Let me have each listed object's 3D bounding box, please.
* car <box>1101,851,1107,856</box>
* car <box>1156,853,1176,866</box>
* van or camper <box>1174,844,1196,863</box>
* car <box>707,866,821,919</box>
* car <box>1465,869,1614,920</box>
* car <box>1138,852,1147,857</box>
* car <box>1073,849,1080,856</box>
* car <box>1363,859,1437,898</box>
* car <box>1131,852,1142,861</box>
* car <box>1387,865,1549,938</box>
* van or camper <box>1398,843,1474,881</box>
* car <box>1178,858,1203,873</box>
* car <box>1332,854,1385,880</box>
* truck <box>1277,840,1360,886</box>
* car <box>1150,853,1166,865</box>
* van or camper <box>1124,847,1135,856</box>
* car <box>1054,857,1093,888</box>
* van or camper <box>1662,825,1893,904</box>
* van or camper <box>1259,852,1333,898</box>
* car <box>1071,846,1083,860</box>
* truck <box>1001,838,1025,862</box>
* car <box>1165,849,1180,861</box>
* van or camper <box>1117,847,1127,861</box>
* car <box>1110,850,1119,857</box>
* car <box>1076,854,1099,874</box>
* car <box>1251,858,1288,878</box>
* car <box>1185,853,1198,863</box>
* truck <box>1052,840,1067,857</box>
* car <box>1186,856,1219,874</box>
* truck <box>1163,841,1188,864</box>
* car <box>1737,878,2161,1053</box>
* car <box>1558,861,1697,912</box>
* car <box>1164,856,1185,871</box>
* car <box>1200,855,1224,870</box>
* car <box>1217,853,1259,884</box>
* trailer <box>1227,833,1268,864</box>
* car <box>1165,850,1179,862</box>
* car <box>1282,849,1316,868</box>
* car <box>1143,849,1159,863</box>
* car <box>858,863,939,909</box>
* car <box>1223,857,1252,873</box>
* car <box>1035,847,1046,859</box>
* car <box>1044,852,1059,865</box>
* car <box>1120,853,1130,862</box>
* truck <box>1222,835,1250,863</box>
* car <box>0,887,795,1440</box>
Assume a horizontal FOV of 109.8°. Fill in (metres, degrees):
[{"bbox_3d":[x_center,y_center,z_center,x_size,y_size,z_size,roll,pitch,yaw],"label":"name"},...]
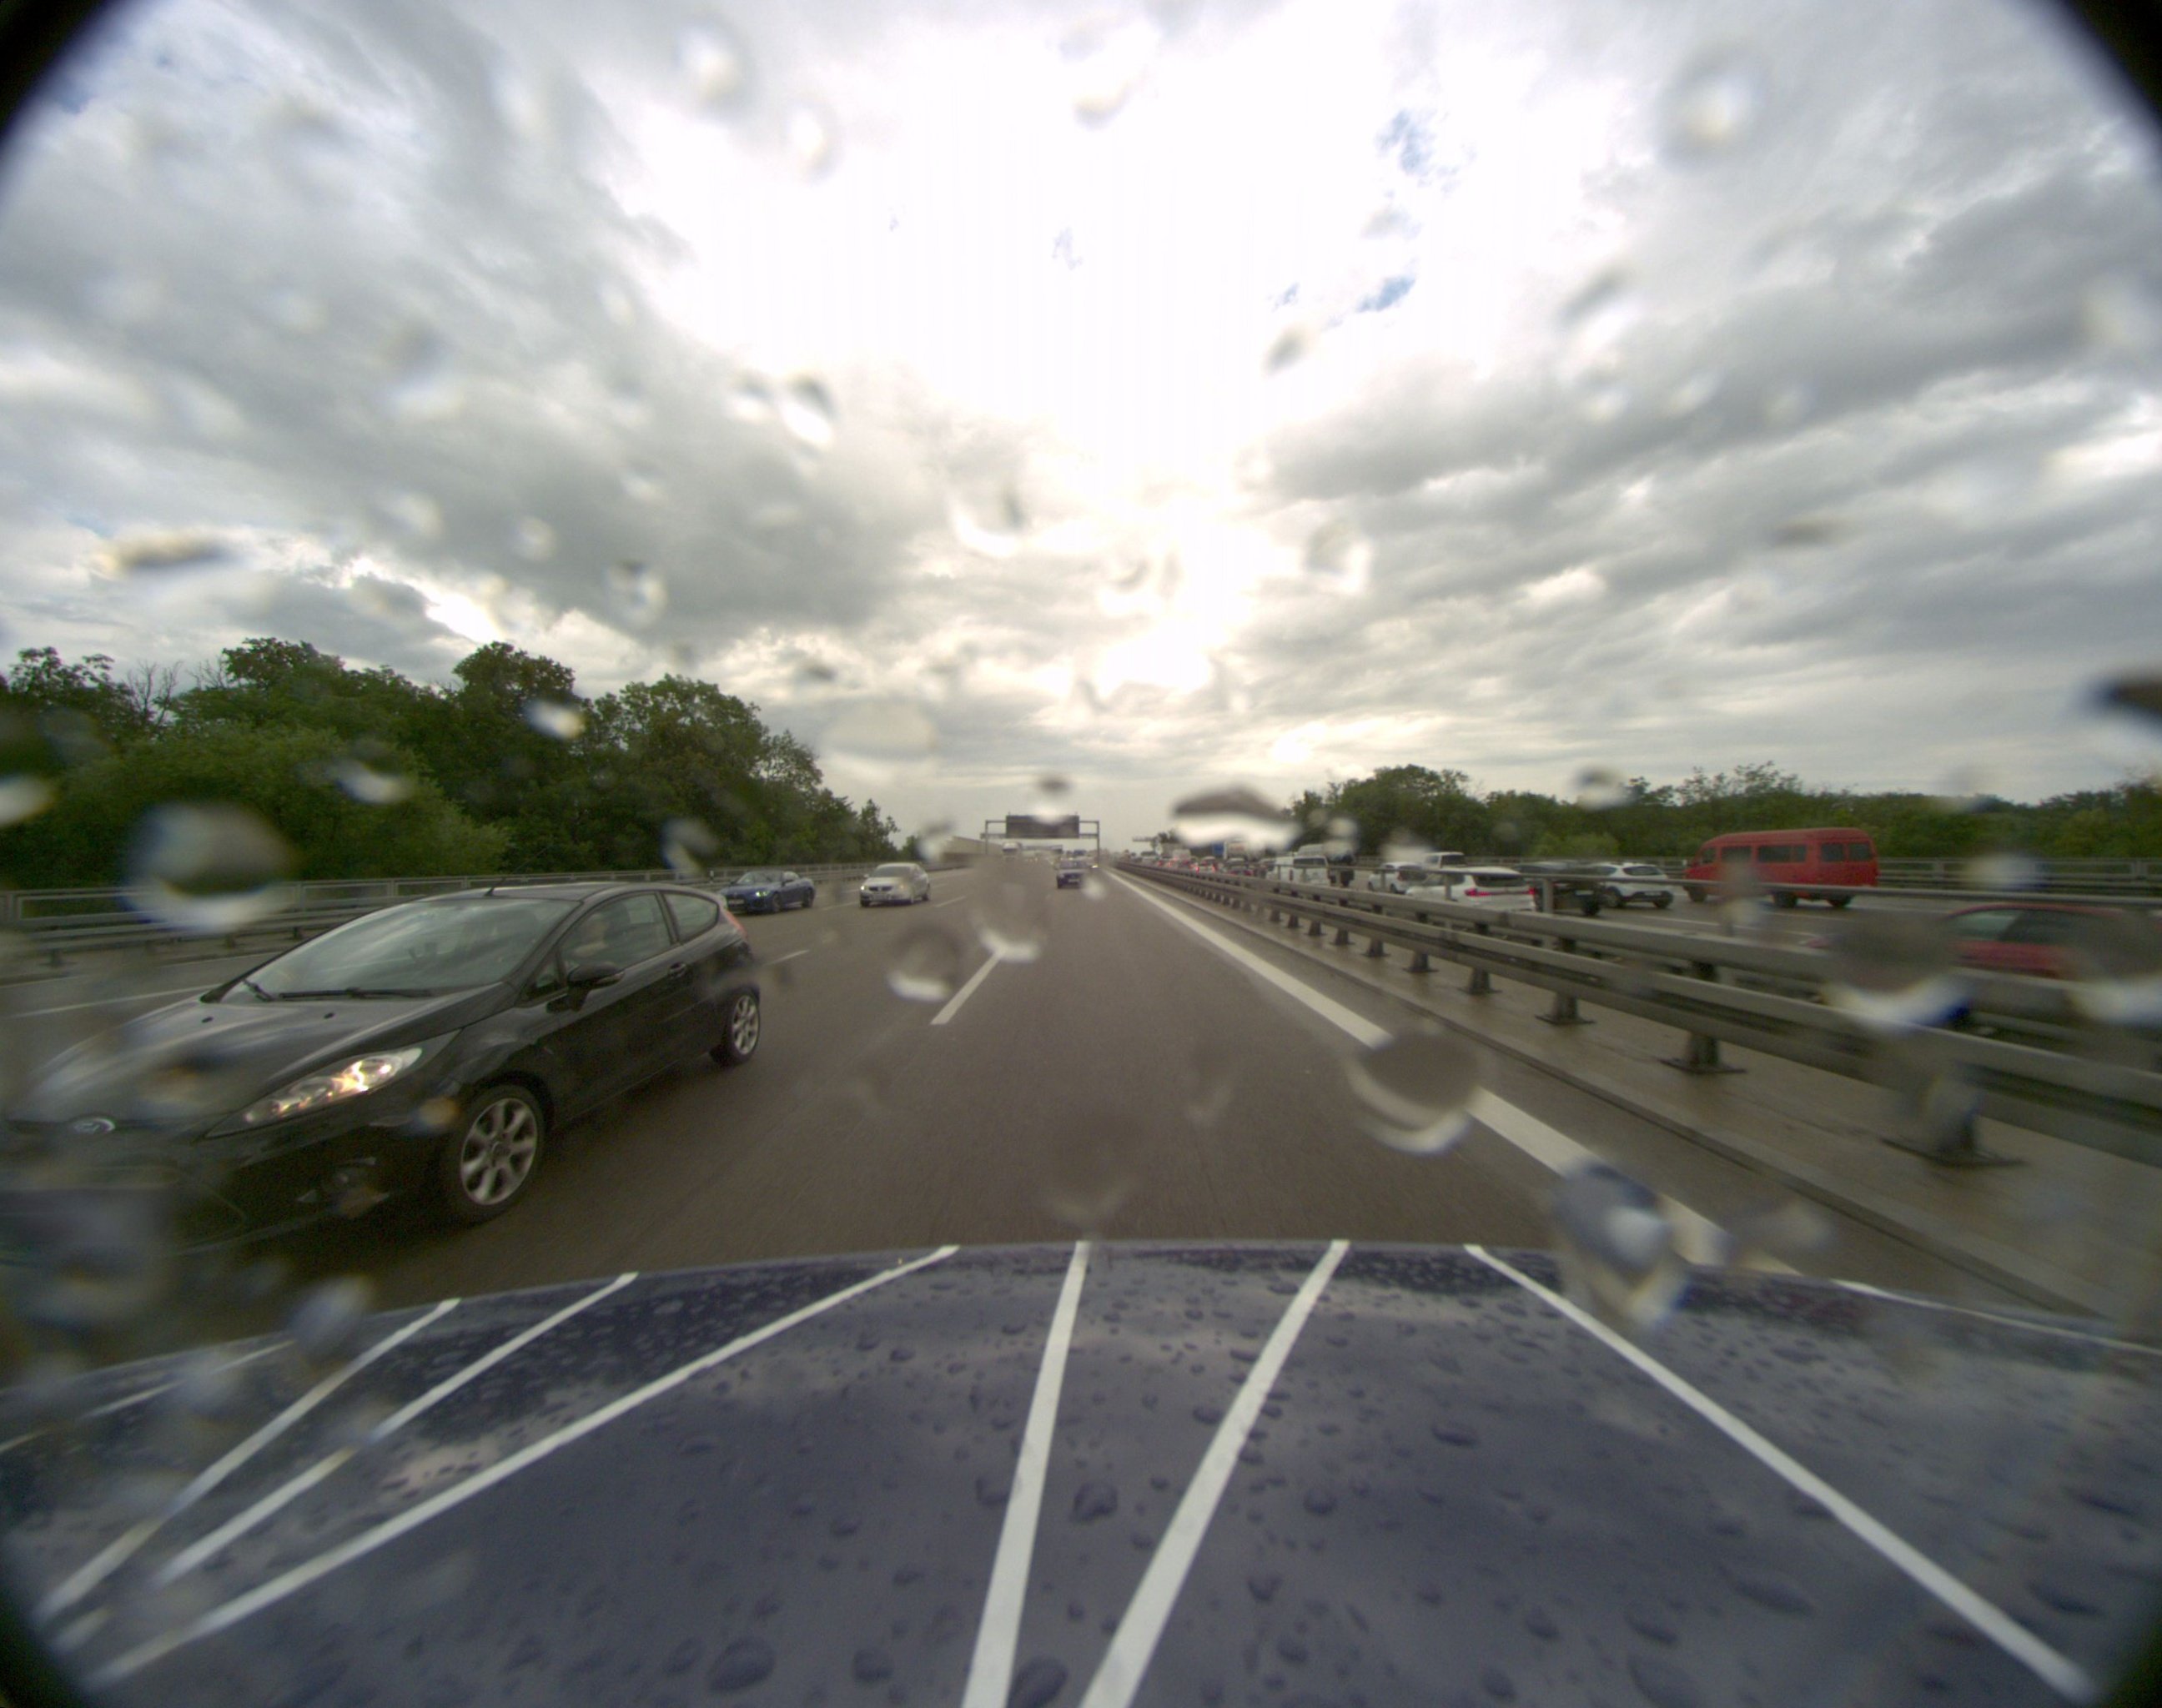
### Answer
[{"bbox_3d":[7.497,-0.242,250.251,1.737,1.565,3.999,0,0,0],"label":"car"},{"bbox_3d":[10.283,0.624,92.169,1.794,1.501,4.602,-1,0,-1],"label":"car"},{"bbox_3d":[14.754,-0.119,108.425,2.039,2.589,7.457,0,0,0],"label":"van or camper"},{"bbox_3d":[-10.162,1.185,24.758,1.781,1.438,4.587,-1,0,0],"label":"car"},{"bbox_3d":[14.584,1.215,24.568,1.681,1.400,5.015,-1,0,-1],"label":"car"},{"bbox_3d":[16.897,0.101,208.288,2.025,1.504,3.999,-1,0,0],"label":"car"},{"bbox_3d":[-1.338,-0.426,218.656,1.998,2.002,3.507,-2,1,0],"label":"car"},{"bbox_3d":[14.649,1.089,35.090,1.681,1.626,3.999,0,0,-1],"label":"car"},{"bbox_3d":[9.814,0.412,135.167,1.674,1.497,3.999,-1,0,0],"label":"car"},{"bbox_3d":[10.510,1.209,21.188,1.830,1.665,5.358,-1,0,1],"label":"car"},{"bbox_3d":[22.492,0.464,48.472,2.051,2.316,5.933,0,0,0],"label":"van or camper"},{"bbox_3d":[11.251,1.147,78.372,1.957,1.506,5.071,-1,0,1],"label":"car"},{"bbox_3d":[19.554,0.861,53.687,1.836,1.699,5.065,-1,0,-1],"label":"car"},{"bbox_3d":[14.559,0.517,47.297,2.152,2.587,8.754,-1,0,-2],"label":"truck"},{"bbox_3d":[10.277,0.656,101.817,1.684,1.480,4.226,-1,0,-1],"label":"car"},{"bbox_3d":[12.933,-0.668,203.457,2.455,2.562,5.420,-1,0,0],"label":"van or camper"},{"bbox_3d":[-0.368,0.881,38.412,1.781,1.399,5.016,-1,0,0],"label":"car"},{"bbox_3d":[22.716,0.282,25.293,1.945,2.291,6.233,0,0,0],"label":"van or camper"},{"bbox_3d":[10.350,0.941,37.014,1.988,2.056,5.642,-1,0,0],"label":"van or camper"},{"bbox_3d":[-0.714,-0.249,136.168,1.998,2.354,4.172,-2,1,1],"label":"car"},{"bbox_3d":[-11.591,-0.657,130.671,3.255,3.884,12.311,-2,0,-2],"label":"truck"},{"bbox_3d":[14.310,0.203,119.460,1.799,1.846,4.647,0,0,0],"label":"car"},{"bbox_3d":[9.558,0.020,179.124,2.007,3.381,4.368,-1,0,-1],"label":"van or camper"},{"bbox_3d":[8.719,-0.155,198.642,1.999,1.956,3.999,-1,0,0],"label":"car"},{"bbox_3d":[0.556,0.803,62.322,1.751,1.489,4.015,-1,1,1],"label":"car"},{"bbox_3d":[14.760,1.078,59.698,1.836,1.466,4.032,-1,0,-1],"label":"car"},{"bbox_3d":[17.958,0.631,123.659,1.624,1.606,3.999,-1,0,0],"label":"car"},{"bbox_3d":[-5.183,-1.201,180.491,2.958,3.777,12.324,-2,0,-3],"label":"truck"},{"bbox_3d":[10.537,0.951,66.195,1.836,1.466,5.923,-1,0,0],"label":"car"},{"bbox_3d":[18.019,-0.320,145.915,3.266,4.267,10.867,-1,0,0],"label":"truck"},{"bbox_3d":[10.455,1.051,8.303,1.878,1.384,5.364,-1,0,-1],"label":"car"},{"bbox_3d":[18.359,1.035,25.786,1.795,1.492,3.999,-1,0,-1],"label":"car"},{"bbox_3d":[10.677,1.100,86.848,1.794,1.618,4.927,-1,0,1],"label":"car"},{"bbox_3d":[14.915,0.993,86.853,1.836,1.638,4.419,-1,0,-1],"label":"car"},{"bbox_3d":[10.613,0.939,51.635,1.953,1.937,4.725,-1,0,1],"label":"car"},{"bbox_3d":[22.262,-0.717,102.397,2.468,3.935,13.218,-1,0,0],"label":"trailer"},{"bbox_3d":[14.480,0.351,120.887,1.709,1.829,4.114,-1,0,-1],"label":"car"},{"bbox_3d":[23.127,0.427,80.715,2.008,1.933,5.420,0,0,0],"label":"car"},{"bbox_3d":[10.377,0.271,112.890,1.858,1.974,5.036,-1,0,-1],"label":"car"},{"bbox_3d":[-6.520,1.082,27.597,1.898,1.438,4.245,-1,0,0],"label":"car"},{"bbox_3d":[14.987,1.031,72.911,1.836,1.466,4.576,-1,0,0],"label":"car"},{"bbox_3d":[-8.430,-0.193,158.240,2.036,2.587,4.513,-1,0,0],"label":"car"},{"bbox_3d":[-4.085,0.606,105.666,1.962,1.831,3.999,-1,1,-1],"label":"car"},{"bbox_3d":[9.459,0.798,165.226,1.826,1.831,4.034,-1,0,-1],"label":"car"},{"bbox_3d":[22.221,-0.711,109.296,2.468,3.942,6.982,-1,0,0],"label":"truck"},{"bbox_3d":[-3.391,1.029,4.455,1.668,1.431,4.405,-1,0,1],"label":"car"}]
